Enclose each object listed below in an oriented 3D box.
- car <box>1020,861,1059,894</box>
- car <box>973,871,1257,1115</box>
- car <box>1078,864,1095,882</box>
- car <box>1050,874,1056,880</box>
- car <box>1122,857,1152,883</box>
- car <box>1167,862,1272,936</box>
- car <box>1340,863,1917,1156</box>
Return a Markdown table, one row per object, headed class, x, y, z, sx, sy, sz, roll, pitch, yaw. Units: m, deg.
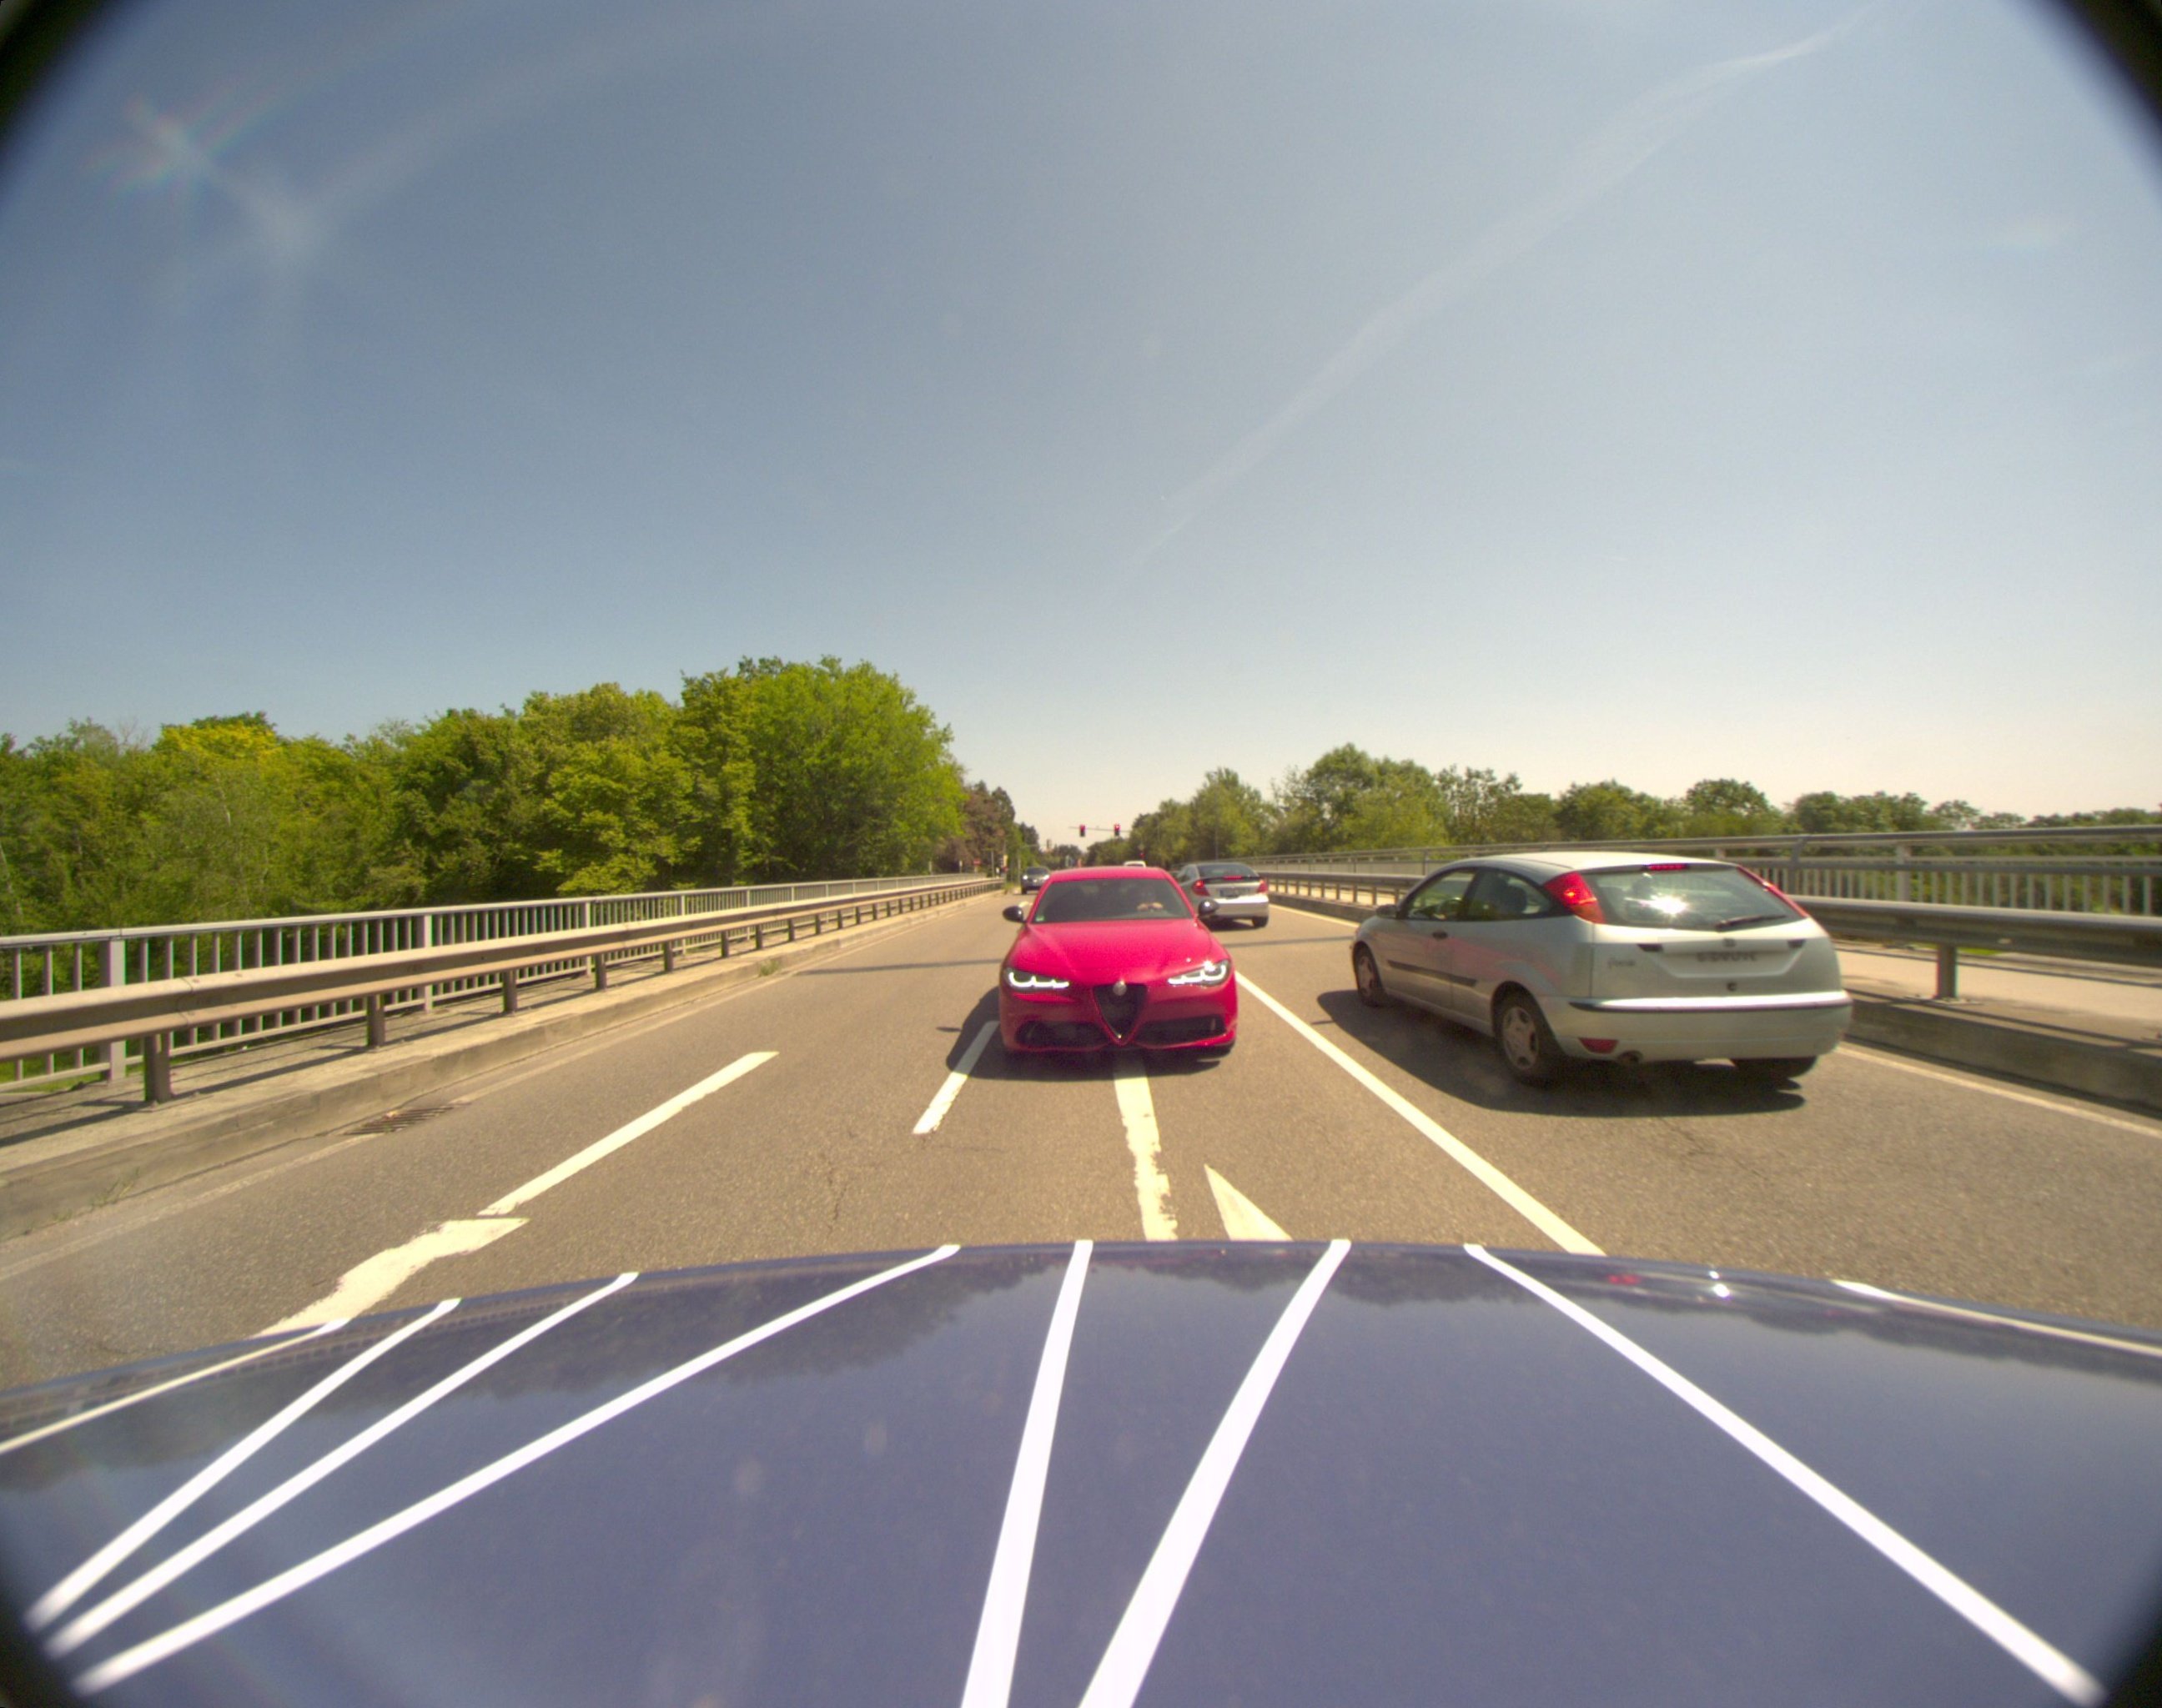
| class | x | y | z | sx | sy | sz | roll | pitch | yaw |
| --- | --- | --- | --- | --- | --- | --- | --- | --- | --- |
| car | -2.308 | 1.297 | 43.312 | 1.848 | 1.675 | 4.000 | -2 | 0 | 1 |
| car | 0.256 | 0.952 | 7.067 | 1.800 | 1.448 | 4.285 | -2 | 0 | 1 |
| car | 0.545 | 1.915 | 76.718 | 1.633 | 1.667 | 3.490 | -2 | 1 | 1 |
| car | -7.684 | 6.315 | 206.621 | 1.416 | 1.499 | 3.316 | -1 | 0 | 0 |
| car | 4.049 | 1.144 | 55.426 | 1.848 | 1.758 | 4.000 | -2 | 0 | 1 |
| car | 2.953 | 0.915 | 16.957 | 1.647 | 1.373 | 3.938 | -2 | 0 | 1 |
| car | 3.477 | 0.837 | 5.808 | 1.800 | 1.448 | 3.707 | -2 | 0 | 2 |
